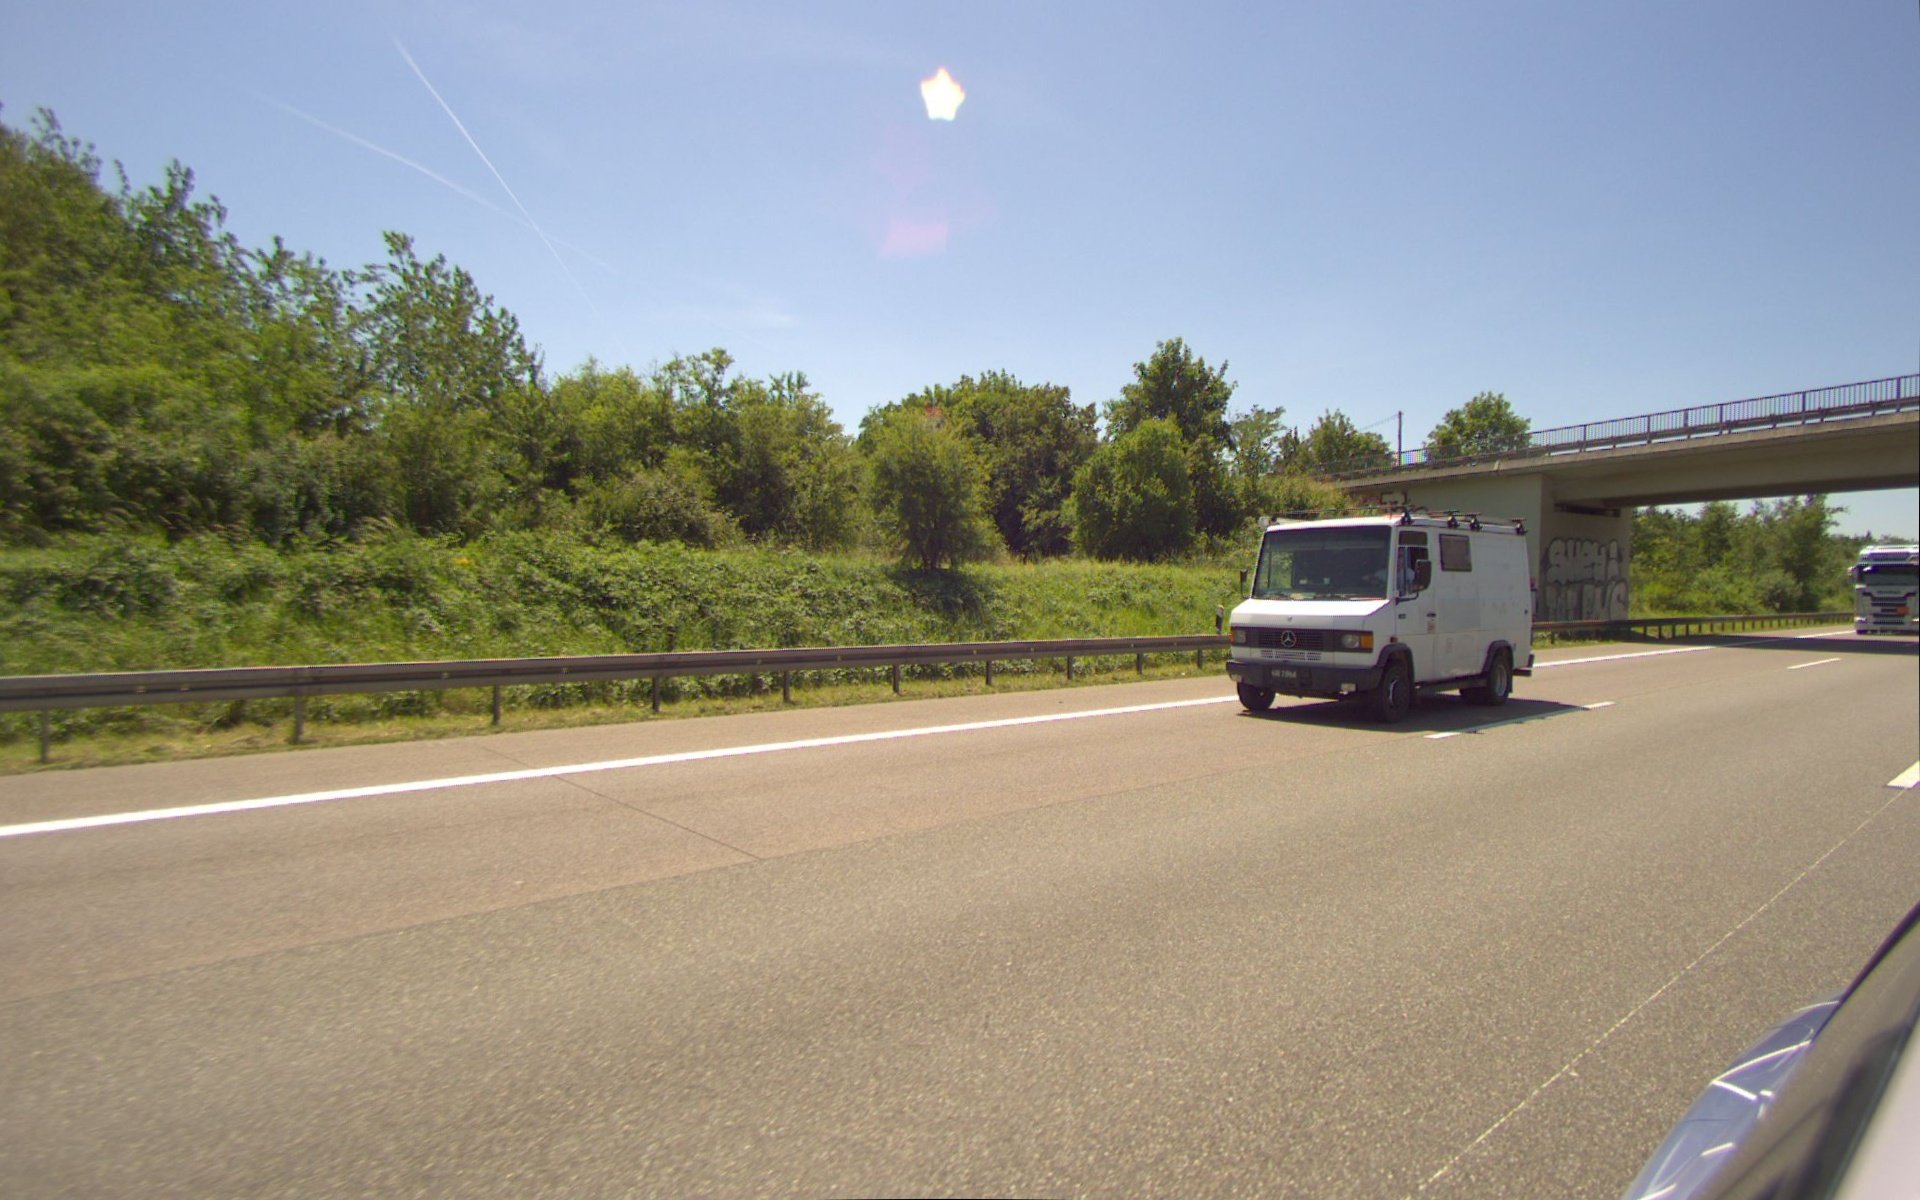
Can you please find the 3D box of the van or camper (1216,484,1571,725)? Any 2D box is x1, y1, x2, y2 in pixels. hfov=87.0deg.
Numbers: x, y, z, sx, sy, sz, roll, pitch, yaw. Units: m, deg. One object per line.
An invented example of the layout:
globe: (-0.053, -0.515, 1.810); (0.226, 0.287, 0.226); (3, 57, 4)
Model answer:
van or camper: (6.375, 0.023, 14.383); (6.256, 2.737, 2.117); (0, 0, -41)

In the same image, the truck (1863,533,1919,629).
truck: (45.559, -0.849, 47.671); (13.121, 4.097, 2.803); (-1, -1, -41)
